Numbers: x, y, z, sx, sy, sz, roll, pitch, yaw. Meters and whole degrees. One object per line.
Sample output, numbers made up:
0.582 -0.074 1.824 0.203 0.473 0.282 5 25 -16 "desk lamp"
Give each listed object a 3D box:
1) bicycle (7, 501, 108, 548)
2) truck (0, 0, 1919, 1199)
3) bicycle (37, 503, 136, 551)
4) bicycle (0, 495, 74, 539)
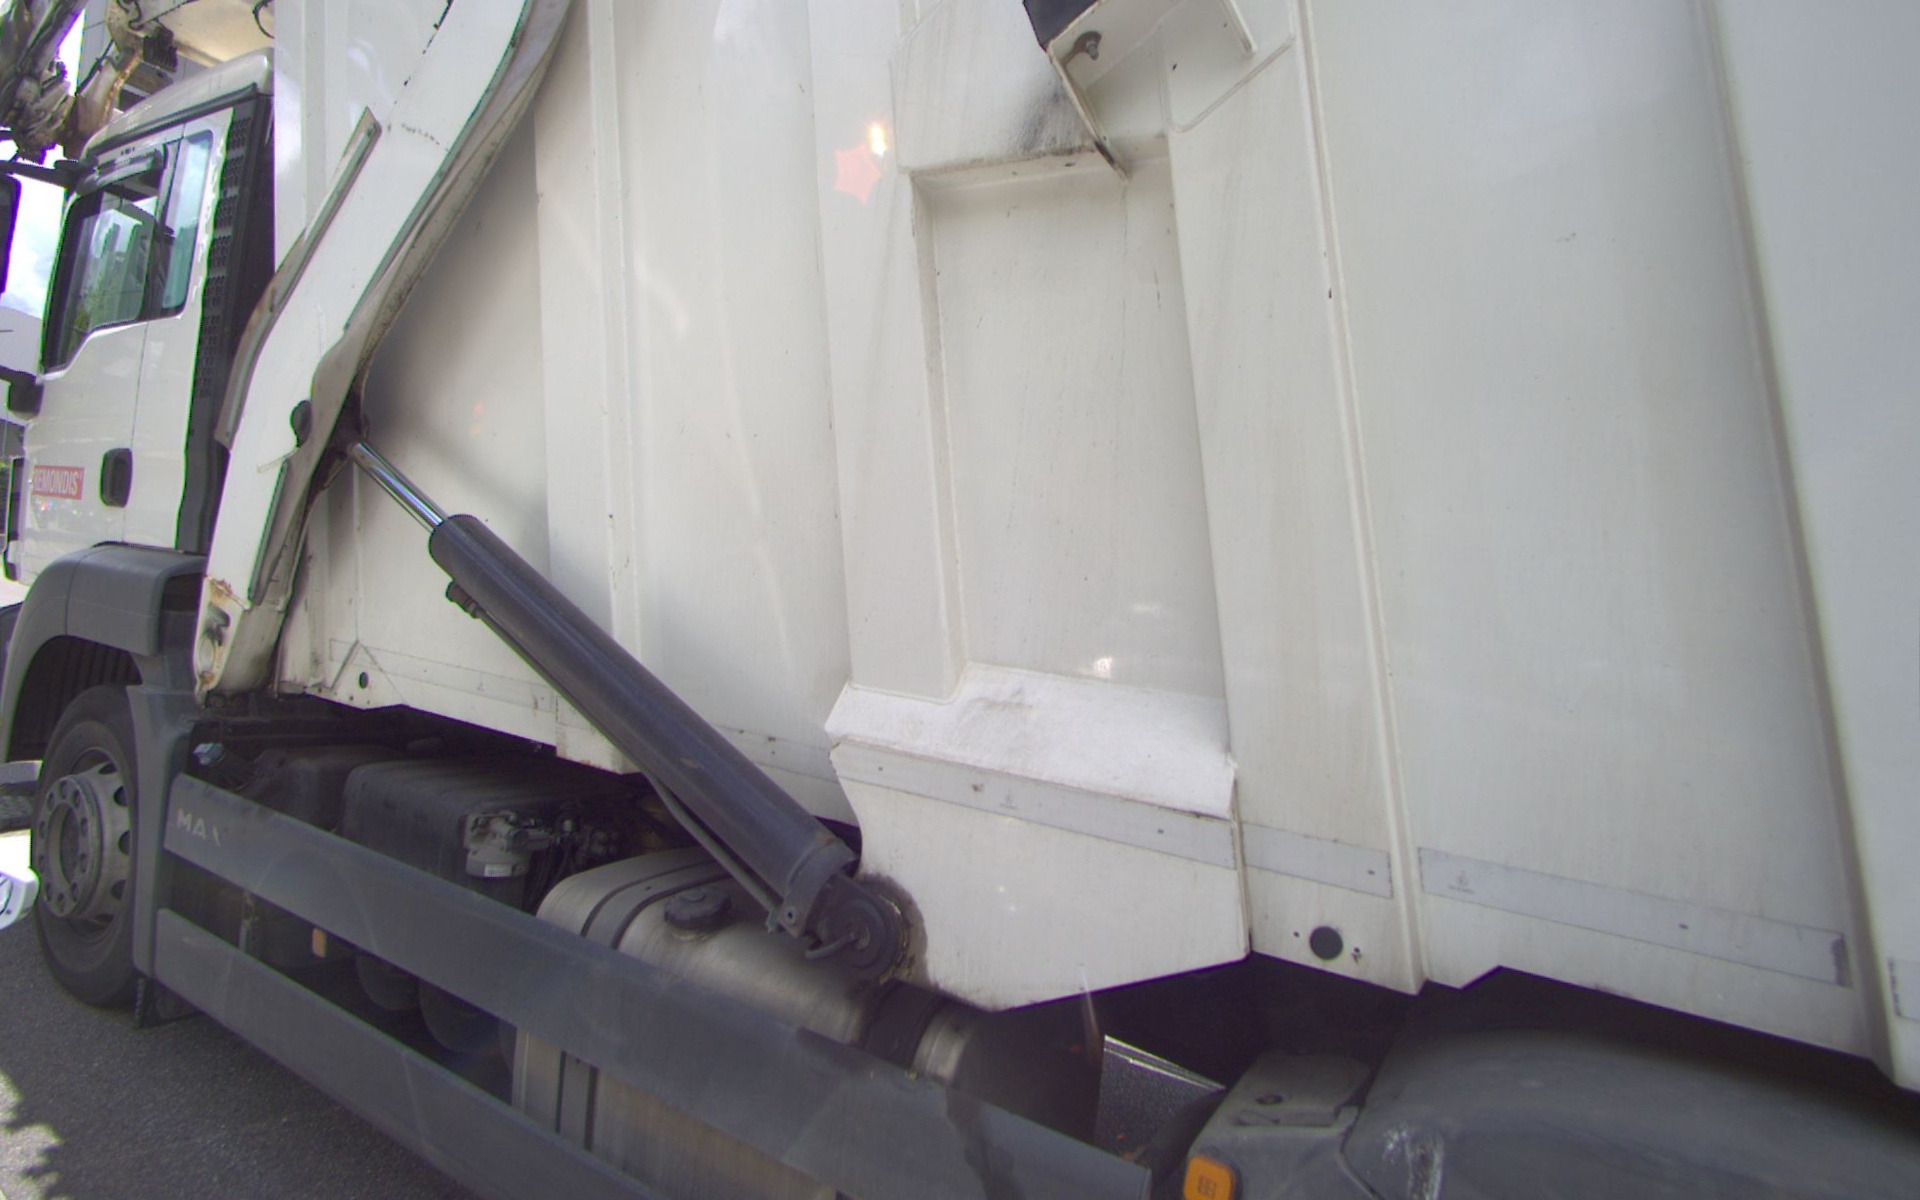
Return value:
-27.962 -2.327 31.212 2.197 1.099 0.474 8 -1 -23 "bicycle"
1.097 -0.251 2.173 10.003 3.958 2.494 6 -1 31 "truck"
-26.969 -2.236 31.080 2.166 1.099 0.474 8 -1 -23 "bicycle"
-29.298 -2.633 31.496 2.197 1.099 0.474 8 -1 -23 "bicycle"
